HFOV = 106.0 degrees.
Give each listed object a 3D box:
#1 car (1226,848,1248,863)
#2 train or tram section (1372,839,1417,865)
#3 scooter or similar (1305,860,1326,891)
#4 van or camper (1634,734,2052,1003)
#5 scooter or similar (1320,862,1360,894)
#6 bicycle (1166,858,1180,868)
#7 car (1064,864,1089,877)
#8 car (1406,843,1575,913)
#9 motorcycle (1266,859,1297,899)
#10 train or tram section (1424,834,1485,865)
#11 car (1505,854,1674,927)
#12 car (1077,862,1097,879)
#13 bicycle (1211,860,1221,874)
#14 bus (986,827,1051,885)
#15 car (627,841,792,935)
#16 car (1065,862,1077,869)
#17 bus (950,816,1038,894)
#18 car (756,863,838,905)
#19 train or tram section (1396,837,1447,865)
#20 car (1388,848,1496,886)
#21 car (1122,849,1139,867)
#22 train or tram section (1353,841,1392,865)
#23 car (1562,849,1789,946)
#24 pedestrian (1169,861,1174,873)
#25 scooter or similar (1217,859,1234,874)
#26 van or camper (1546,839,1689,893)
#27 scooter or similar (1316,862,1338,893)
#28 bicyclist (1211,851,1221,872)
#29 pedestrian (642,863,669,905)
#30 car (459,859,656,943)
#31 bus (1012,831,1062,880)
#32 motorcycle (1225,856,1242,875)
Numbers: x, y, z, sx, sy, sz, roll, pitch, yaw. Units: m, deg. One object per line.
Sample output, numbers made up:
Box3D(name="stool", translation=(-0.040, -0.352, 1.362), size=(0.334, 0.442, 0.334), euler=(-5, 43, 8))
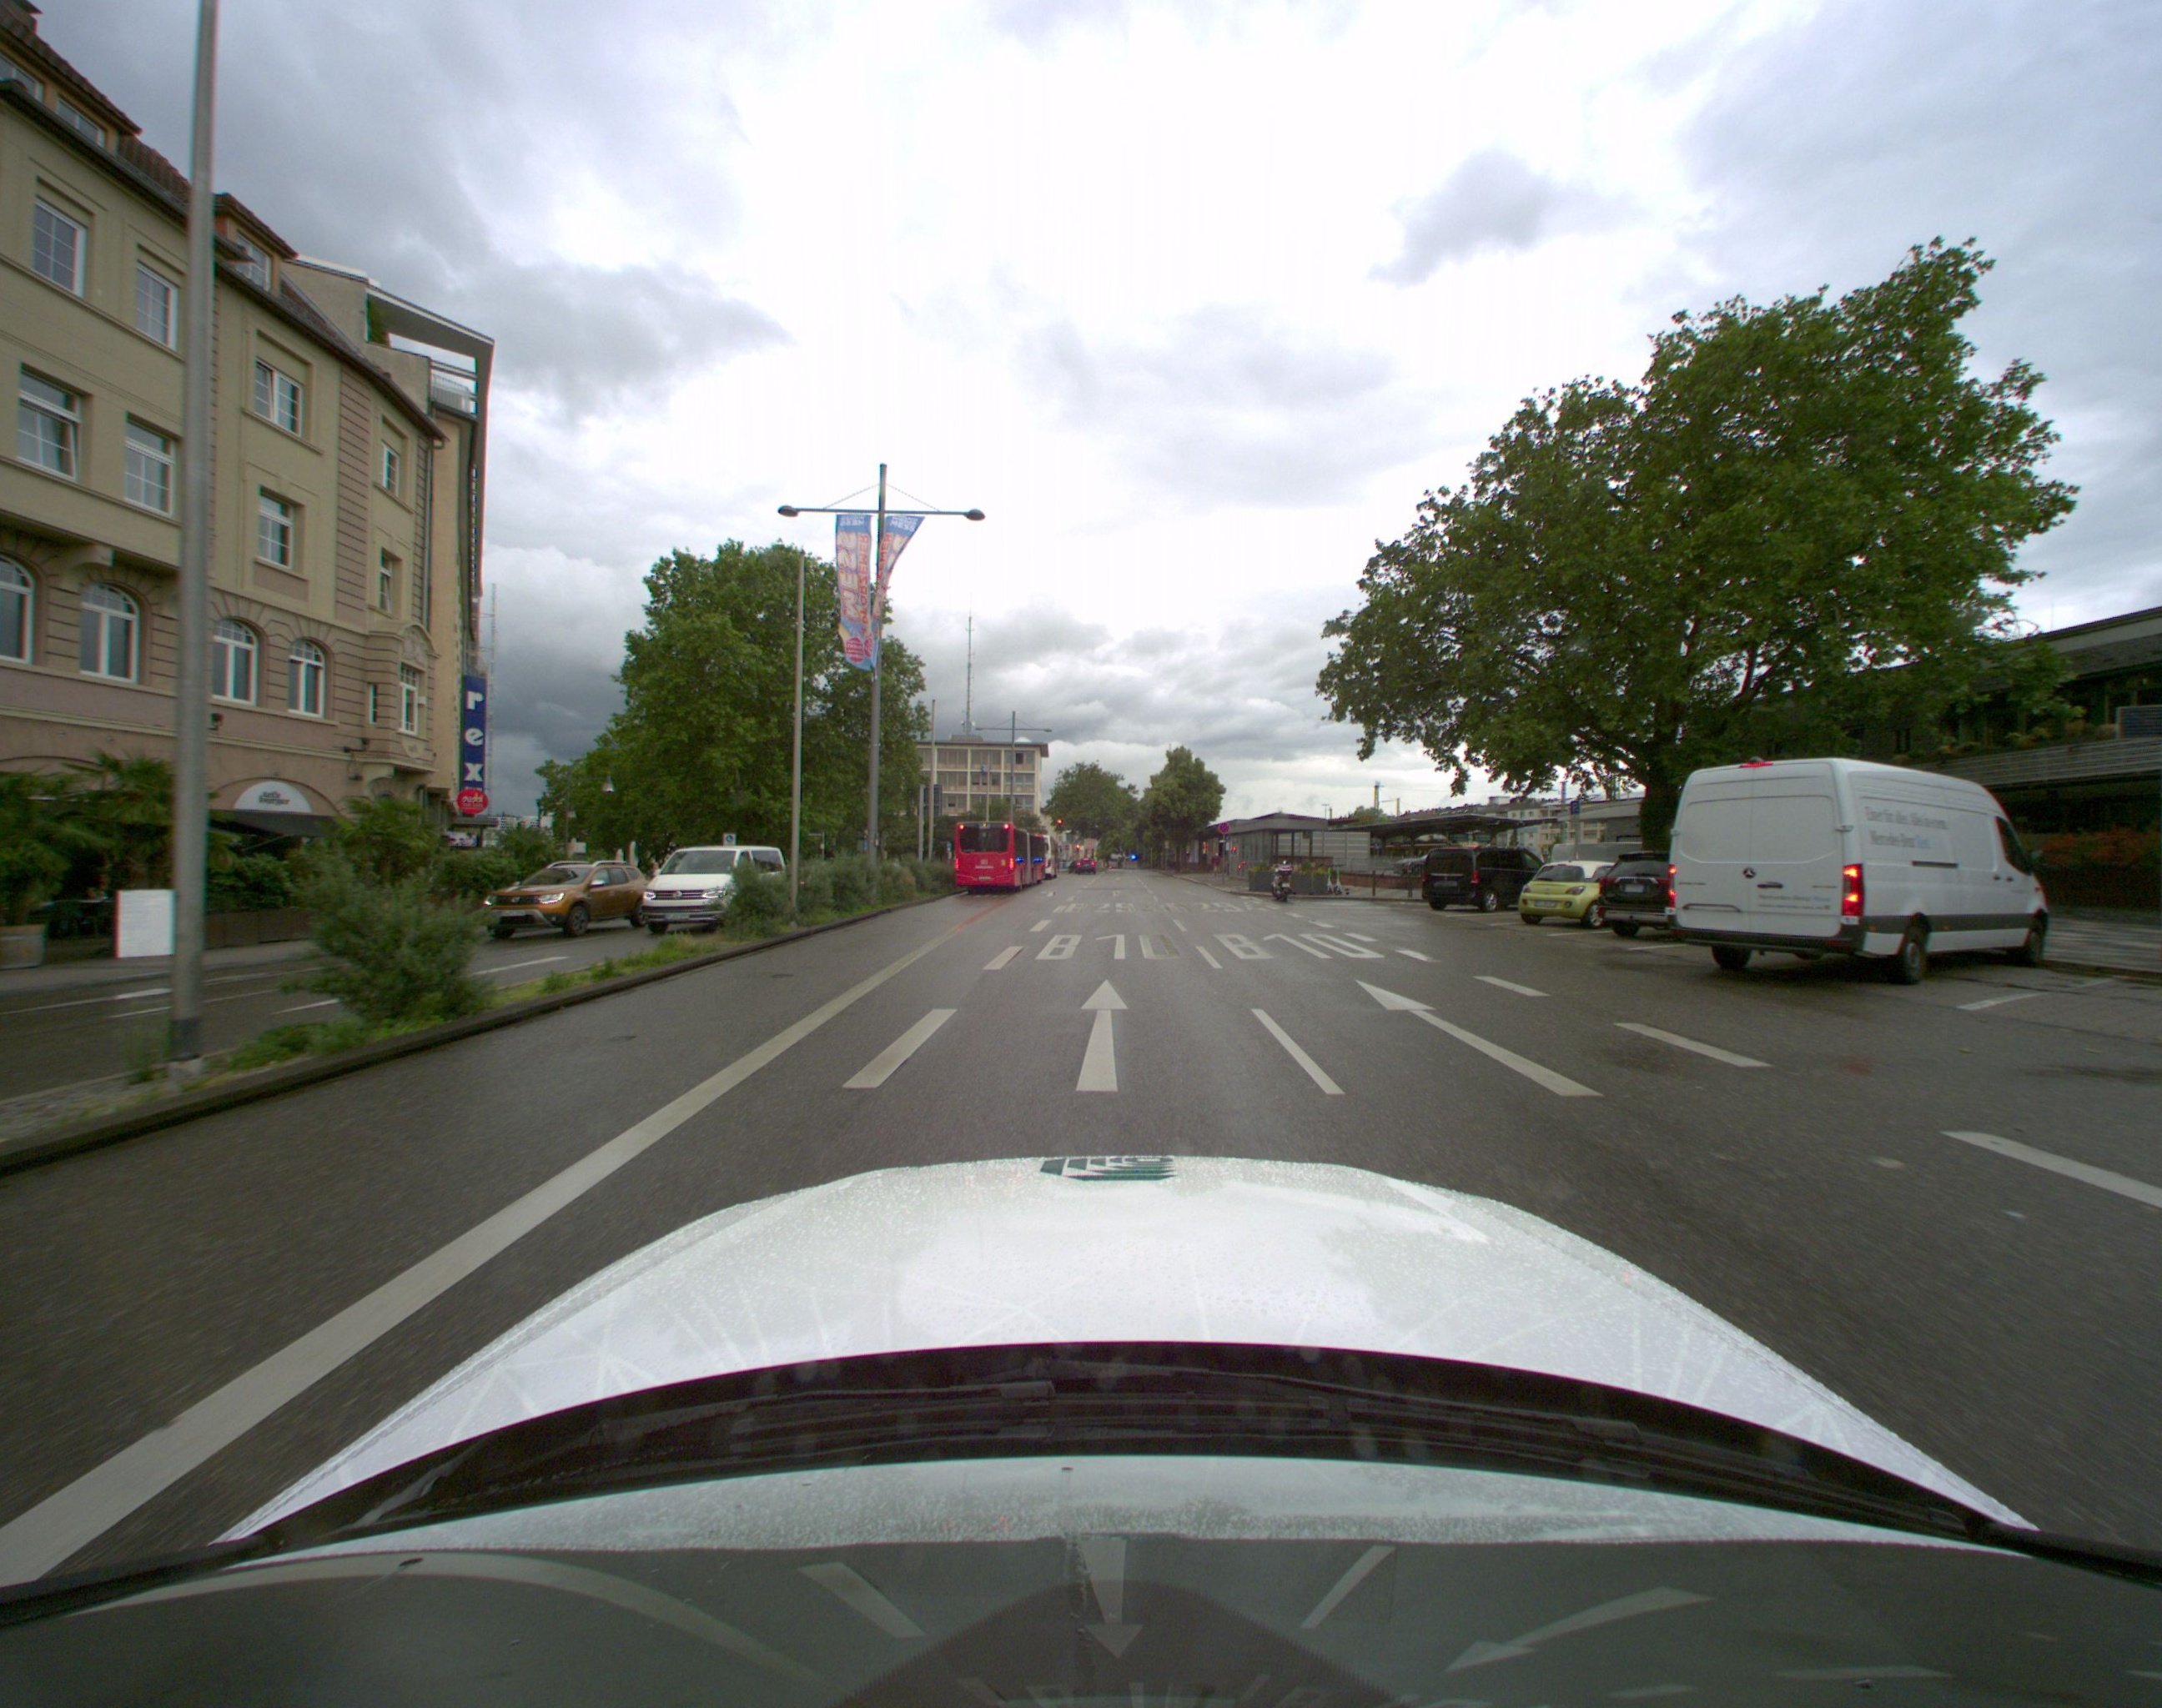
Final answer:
Box3D(name="car", translation=(19.476, 0.218, 101.910), size=(1.987, 1.871, 4.598), euler=(-1, 0, 1))
Box3D(name="train or tram section", translation=(42.335, -0.248, 110.309), size=(2.645, 3.282, 9.135), euler=(-1, -1, 1))
Box3D(name="scooter or similar", translation=(8.985, 0.826, 31.194), size=(0.409, 1.155, 1.271), euler=(2, 0, 33))
Box3D(name="van or camper", translation=(10.677, 0.130, 11.258), size=(6.547, 2.869, 2.259), euler=(-1, 0, -29))
Box3D(name="scooter or similar", translation=(9.965, 0.896, 31.363), size=(1.060, 1.155, 1.668), euler=(2, 0, 3))
Box3D(name="bicycle", translation=(12.157, 1.147, 107.754), size=(1.703, 1.249, 0.489), euler=(-2, -1, 33))
Box3D(name="car", translation=(-0.517, 1.774, 88.885), size=(1.818, 1.409, 4.393), euler=(0, -1, -14))
Box3D(name="car", translation=(12.095, 0.648, 24.031), size=(4.710, 1.874, 2.090), euler=(-1, 0, -27))
Box3D(name="motorcycle", translation=(6.962, 0.844, 28.404), size=(0.640, 1.352, 2.110), euler=(-1, 0, 3))
Box3D(name="train or tram section", translation=(42.035, -0.409, 92.021), size=(2.645, 3.282, 9.521), euler=(-1, -1, 1))
Box3D(name="car", translation=(11.790, 0.777, 18.879), size=(3.598, 1.524, 1.747), euler=(-1, 0, -27))
Box3D(name="car", translation=(0.617, 1.624, 81.731), size=(1.957, 1.640, 4.358), euler=(-1, -1, 1))
Box3D(name="bicycle", translation=(9.940, 0.971, 59.951), size=(0.445, 1.016, 1.677), euler=(-3, -1, 0))
Box3D(name="bus", translation=(-3.572, 0.116, 48.564), size=(2.741, 3.132, 8.849), euler=(-1, 0, 3))
Box3D(name="car", translation=(-8.780, 0.727, 19.795), size=(1.916, 1.974, 4.851), euler=(-1, 0, -2))
Box3D(name="car", translation=(-1.865, 2.150, 152.026), size=(1.683, 1.298, 4.097), euler=(1, -1, 4))
Box3D(name="bus", translation=(-3.913, 0.056, 39.192), size=(2.799, 3.246, 9.917), euler=(-1, 0, 2))
Box3D(name="car", translation=(-11.662, 1.175, 33.768), size=(1.785, 1.579, 4.738), euler=(-1, 0, -1))
Box3D(name="train or tram section", translation=(42.185, -0.329, 101.260), size=(2.645, 3.282, 9.135), euler=(-1, -1, 1))
Box3D(name="car", translation=(18.642, 0.643, 42.224), size=(4.672, 1.874, 2.107), euler=(-1, 0, -2))
Box3D(name="car", translation=(7.351, 0.563, 121.753), size=(2.256, 2.656, 4.000), euler=(-1, 0, 0))
Box3D(name="train or tram section", translation=(42.539, -0.130, 119.267), size=(2.645, 3.282, 8.764), euler=(-1, -1, 1))
Box3D(name="car", translation=(11.599, 0.750, 15.859), size=(4.246, 1.634, 1.867), euler=(-1, 0, -27))
Box3D(name="pedestrian", translation=(11.944, 1.700, 107.358), size=(0.452, 1.569, 0.396), euler=(-2, -1, 34))
Box3D(name="scooter or similar", translation=(10.892, 0.946, 61.406), size=(0.494, 1.153, 1.705), euler=(0, -1, -18))
Box3D(name="van or camper", translation=(20.903, 0.446, 31.860), size=(4.264, 1.990, 2.021), euler=(-1, 0, 0))
Box3D(name="scooter or similar", translation=(9.354, 0.886, 30.954), size=(0.409, 1.155, 1.271), euler=(2, 0, 33))
Box3D(name="bicyclist", translation=(9.911, 0.559, 59.914), size=(0.532, 1.538, 0.694), euler=(-2, -1, -1))
Box3D(name="pedestrian", translation=(-15.965, 1.101, 30.554), size=(0.690, 1.529, 0.725), euler=(-1, 0, -10))
Box3D(name="car", translation=(-11.791, 0.971, 18.738), size=(1.989, 1.680, 4.098), euler=(-1, 0, -3))
Box3D(name="bus", translation=(-3.211, 0.138, 63.215), size=(2.945, 3.439, 12.560), euler=(0, 0, 1))
Box3D(name="motorcycle", translation=(11.070, 0.805, 59.213), size=(0.789, 1.348, 2.456), euler=(0, 0, 0))
